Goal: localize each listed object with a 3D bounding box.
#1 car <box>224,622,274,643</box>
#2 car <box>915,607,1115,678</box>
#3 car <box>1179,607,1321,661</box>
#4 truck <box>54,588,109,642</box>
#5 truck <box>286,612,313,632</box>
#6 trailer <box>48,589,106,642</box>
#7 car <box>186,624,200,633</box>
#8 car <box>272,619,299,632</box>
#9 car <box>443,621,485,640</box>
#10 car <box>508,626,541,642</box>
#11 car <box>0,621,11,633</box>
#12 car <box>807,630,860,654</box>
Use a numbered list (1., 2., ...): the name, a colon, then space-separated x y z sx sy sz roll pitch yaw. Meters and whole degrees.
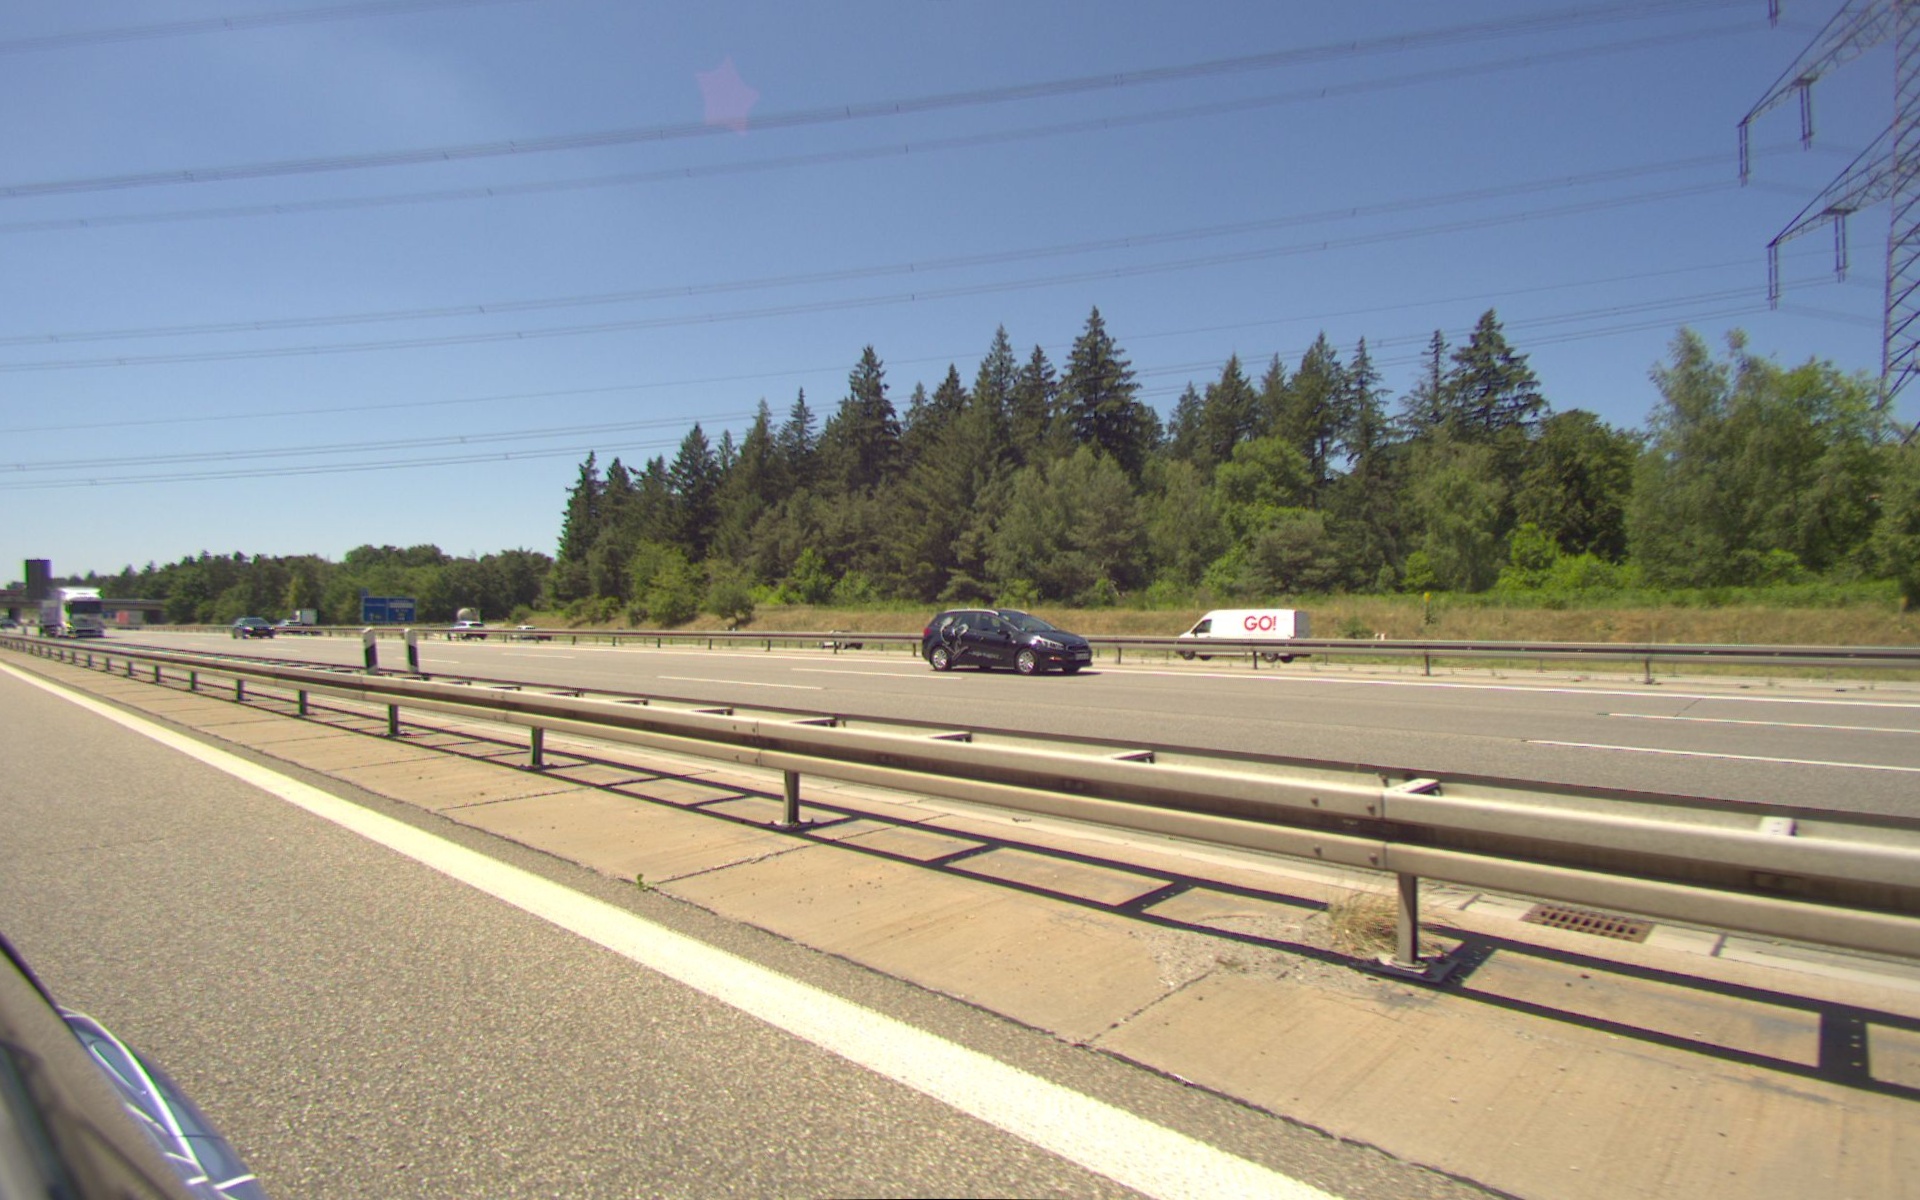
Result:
1. car: -49.802 2.257 70.839 4.998 1.442 1.812 -1 -1 42
2. car: 1.177 0.945 23.309 4.597 1.486 1.685 -1 -2 43
3. car: 14.270 1.663 50.158 6.457 2.534 2.280 -1 -2 43
4. truck: -70.469 1.257 81.143 2.938 4.174 5.352 1 -2 -45
5. truck: -106.447 3.556 163.173 5.081 3.047 2.498 -1 -2 43
6. trailer: -74.195 1.355 84.933 2.941 4.174 11.702 1 -2 -45
7. car: -151.564 5.617 199.973 4.061 1.618 1.685 -1 -2 43
8. car: -76.649 2.885 114.946 4.061 1.486 1.685 -1 -2 43
9. car: -39.507 2.404 80.630 4.061 1.486 1.685 -1 -2 43
10. car: -45.379 3.488 105.320 4.061 1.618 1.685 -1 -2 43
11. car: -174.677 4.880 184.500 5.406 2.048 2.284 0 0 44
12. car: -9.199 3.018 73.497 4.061 1.618 1.685 -1 -2 43
